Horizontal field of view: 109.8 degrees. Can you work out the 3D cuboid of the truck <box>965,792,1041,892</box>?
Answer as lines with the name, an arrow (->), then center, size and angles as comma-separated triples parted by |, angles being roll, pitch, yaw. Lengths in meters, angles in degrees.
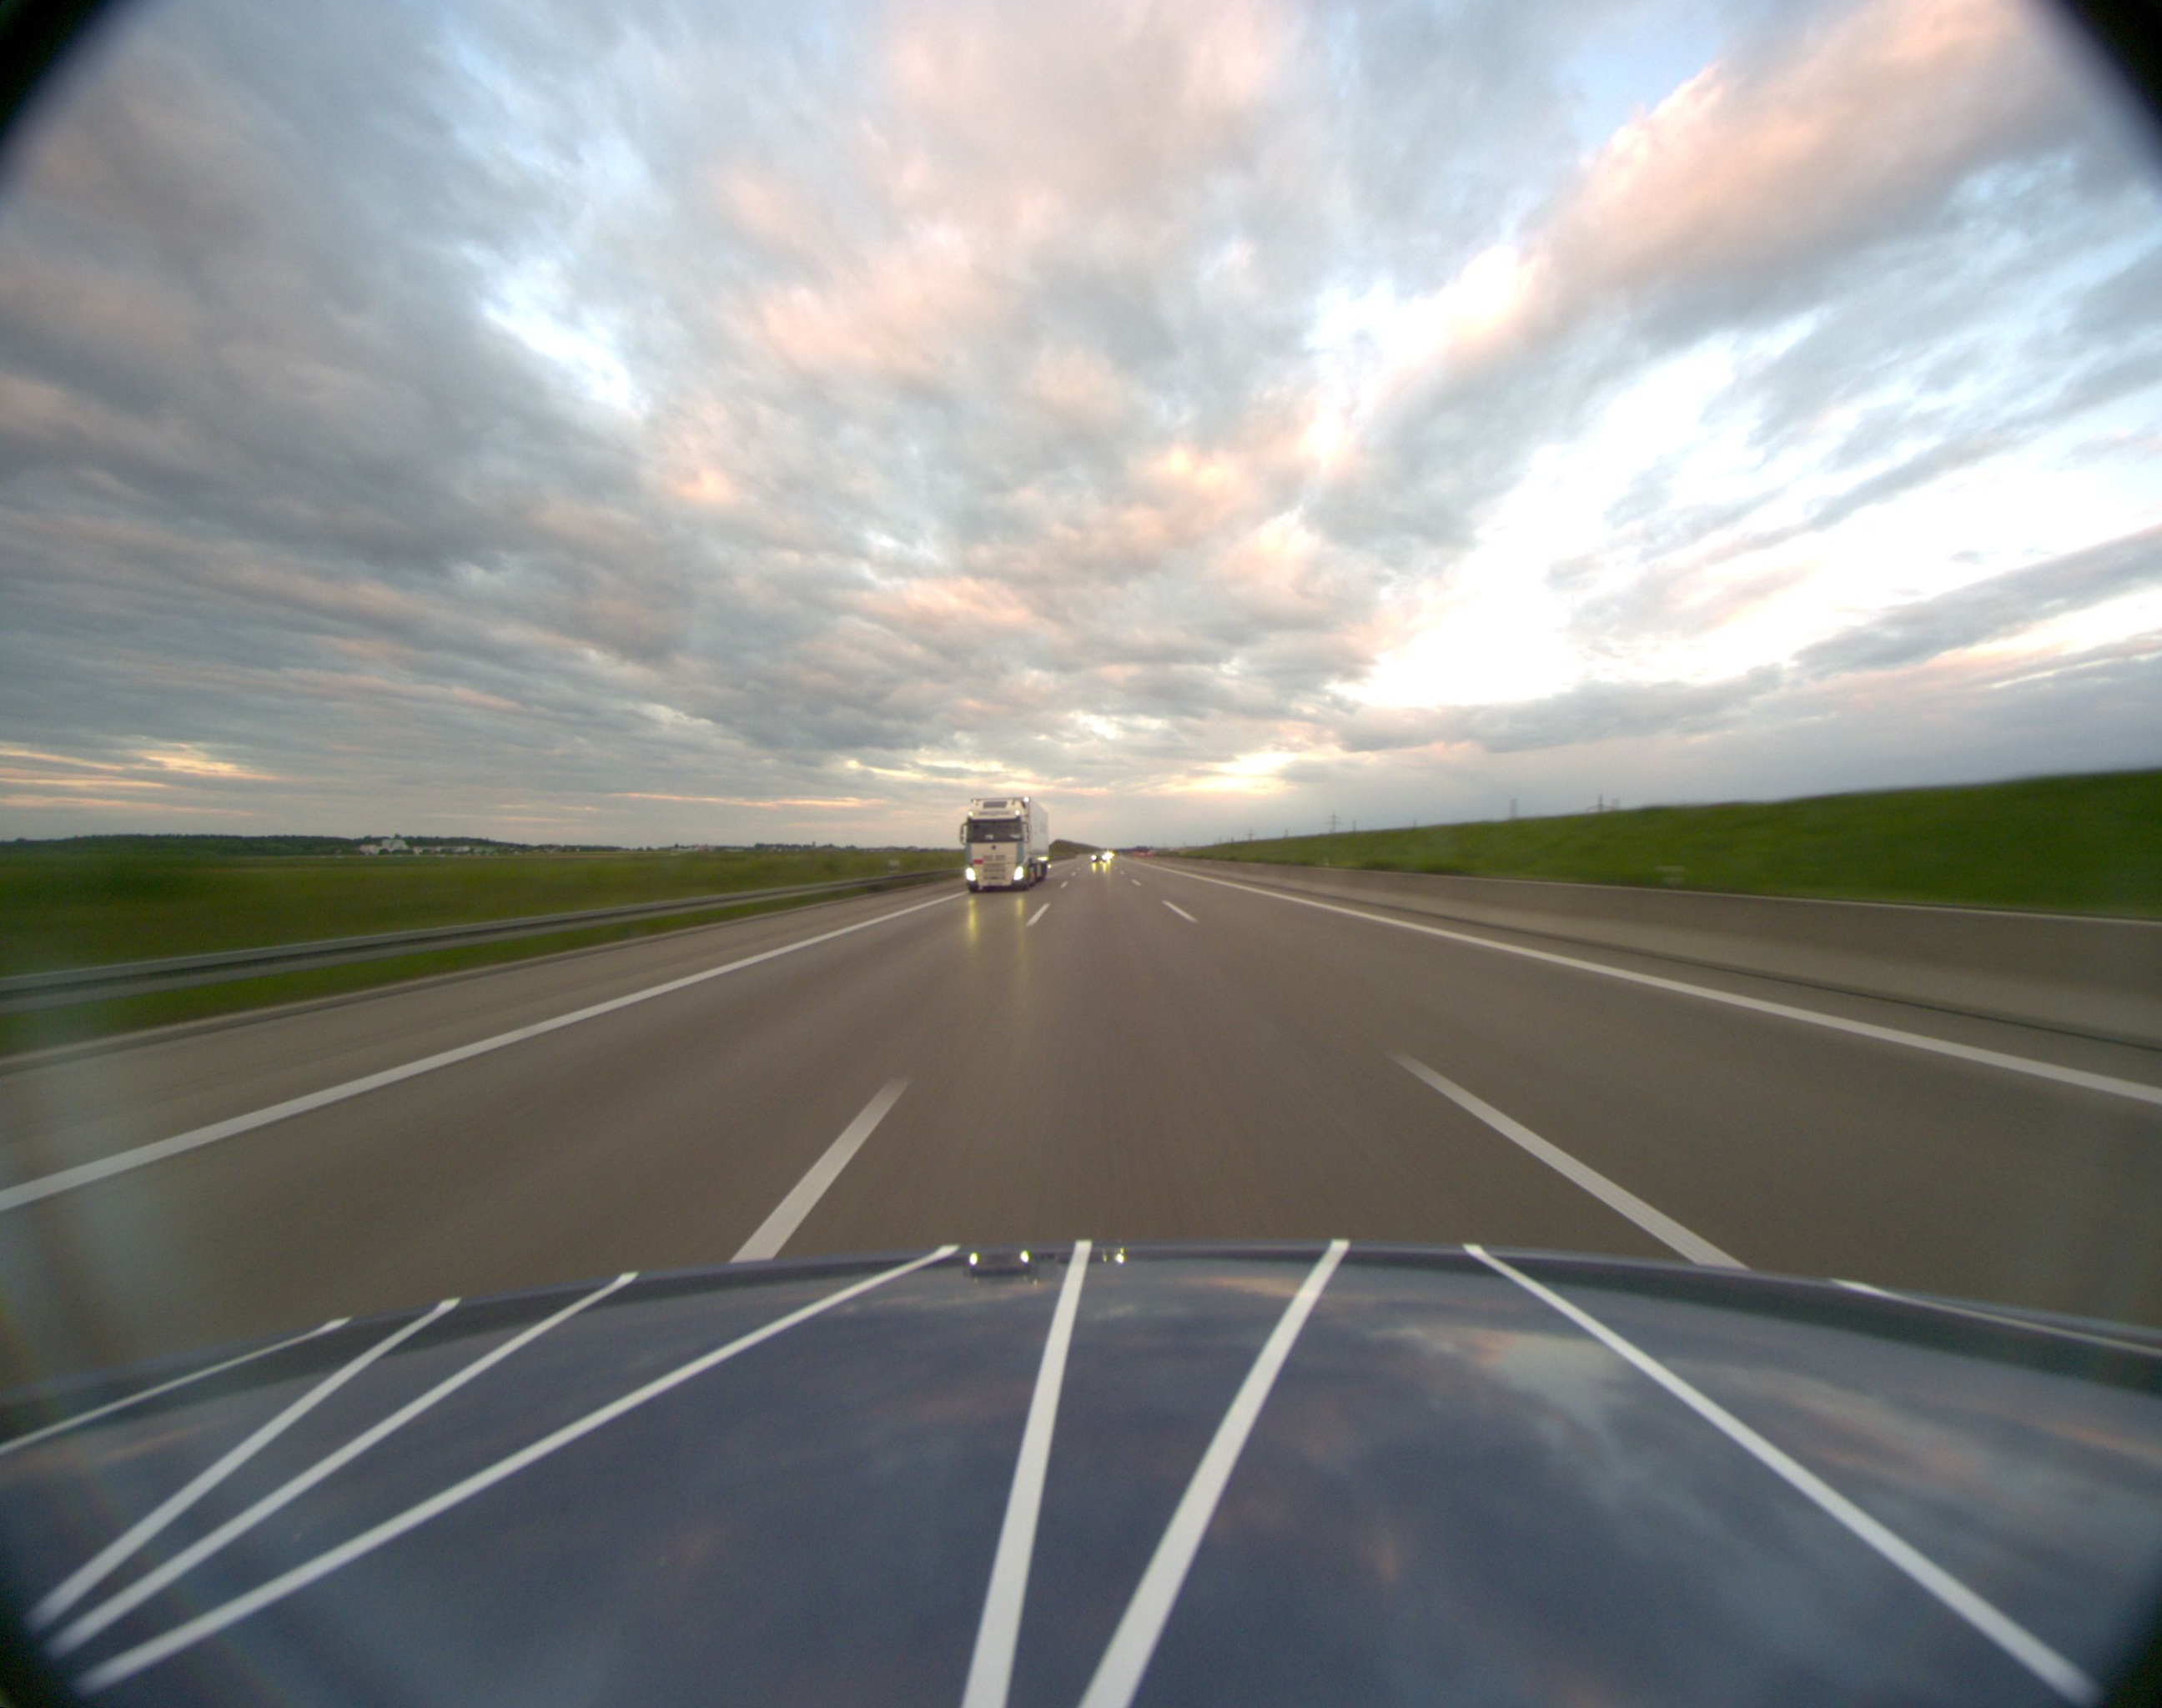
truck -> -3.316, -0.482, 33.716 | 2.596, 3.999, 5.859 | -1, 0, 1

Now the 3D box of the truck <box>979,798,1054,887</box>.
truck -> -3.156, -0.557, 40.911 | 2.596, 3.999, 12.985 | -1, 0, 1

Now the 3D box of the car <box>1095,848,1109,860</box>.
car -> 3.072, -0.077, 113.209 | 1.998, 1.652, 4.850 | -2, 1, 1

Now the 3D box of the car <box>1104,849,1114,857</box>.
car -> 6.004, -0.278, 161.502 | 1.998, 1.652, 3.999 | -2, 1, 0
